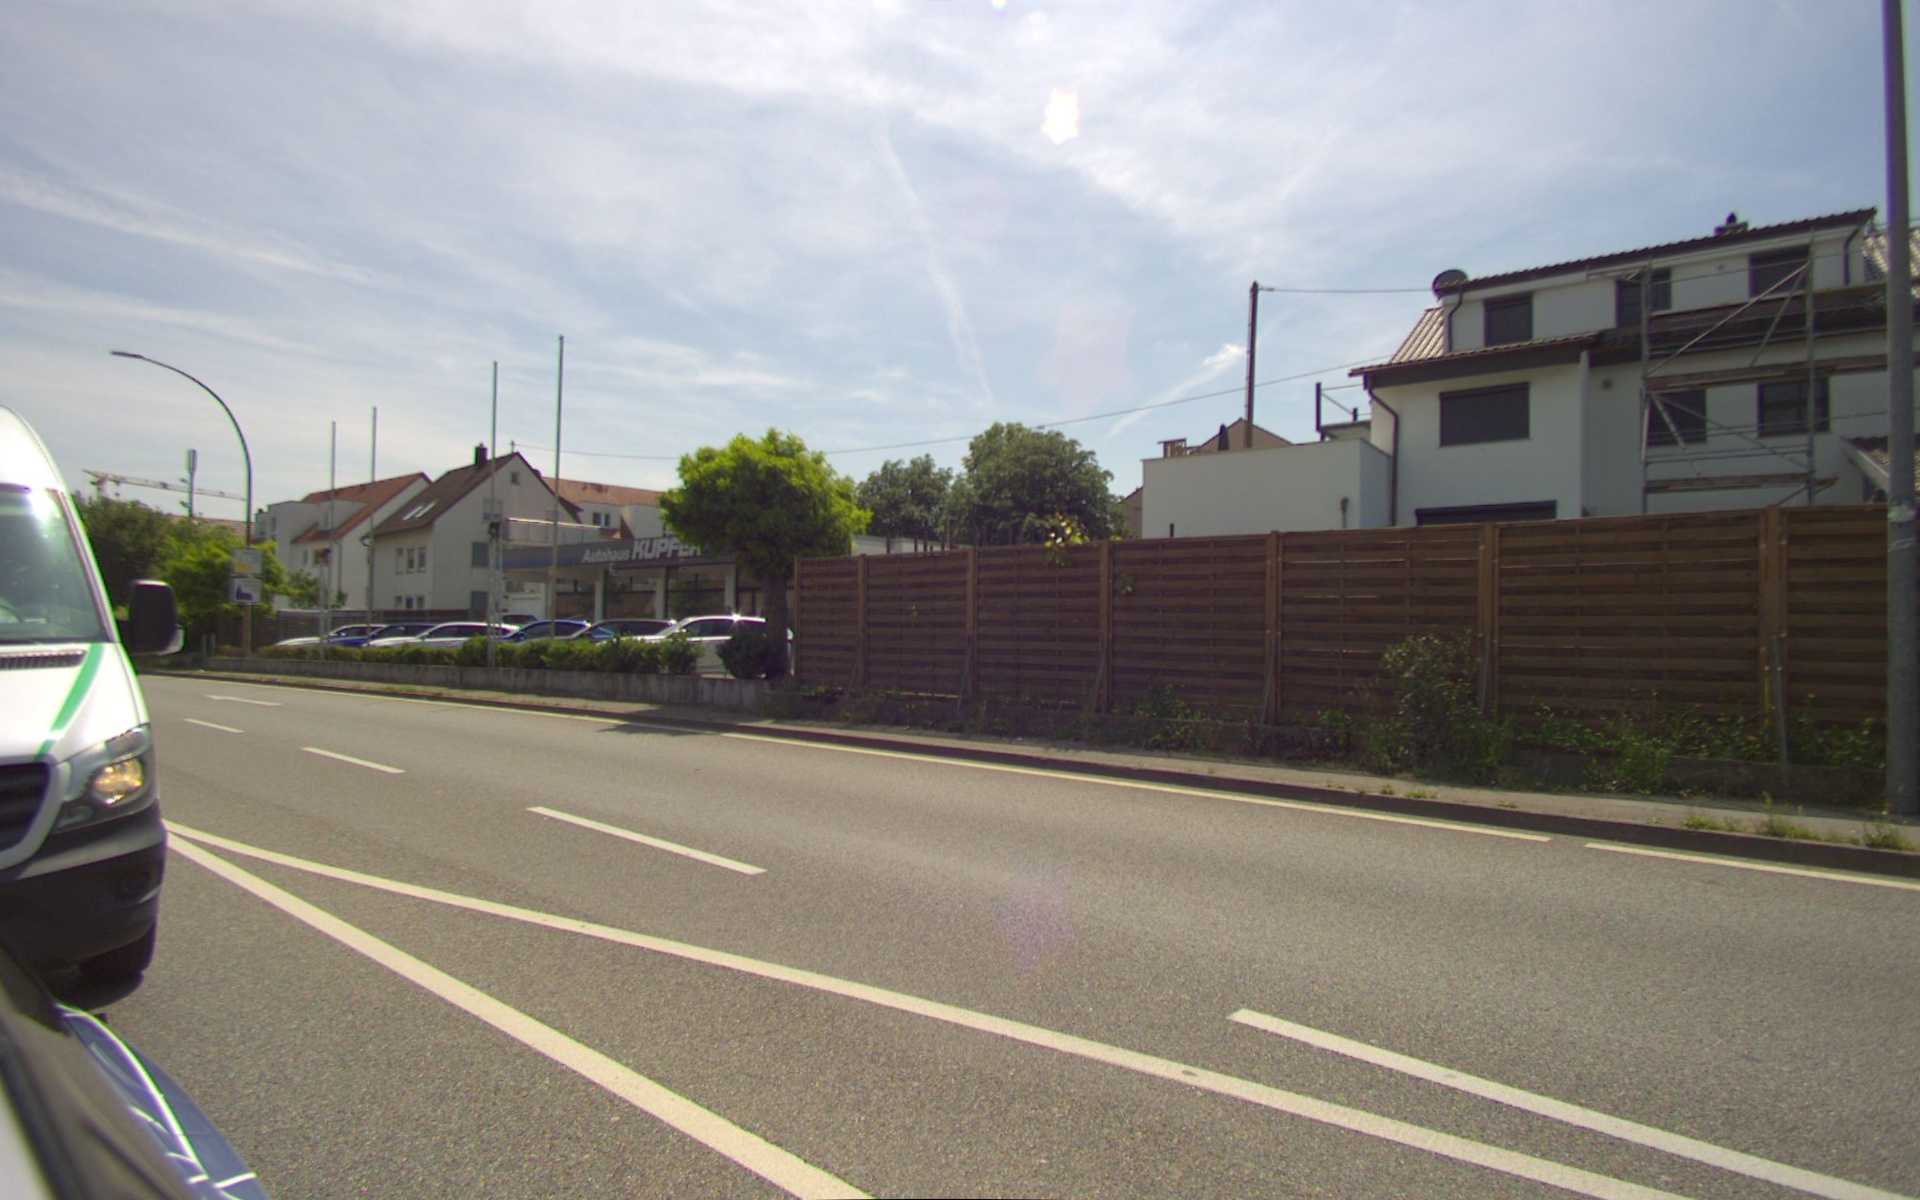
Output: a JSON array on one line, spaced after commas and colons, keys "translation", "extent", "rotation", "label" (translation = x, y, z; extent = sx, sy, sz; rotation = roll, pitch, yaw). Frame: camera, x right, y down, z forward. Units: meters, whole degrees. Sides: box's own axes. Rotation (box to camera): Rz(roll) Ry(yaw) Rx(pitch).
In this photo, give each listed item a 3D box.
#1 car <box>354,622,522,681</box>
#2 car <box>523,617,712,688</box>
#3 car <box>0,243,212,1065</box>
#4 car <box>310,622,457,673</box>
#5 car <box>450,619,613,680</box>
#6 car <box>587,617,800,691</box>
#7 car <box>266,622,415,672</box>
[{"translation": [-15.289, 1.474, 29.916], "extent": [4.238, 1.530, 2.006], "rotation": [-1, -1, -23], "label": "car"}, {"translation": [-8.468, 1.241, 25.034], "extent": [4.187, 1.557, 1.856], "rotation": [-1, -1, -27], "label": "car"}, {"translation": [-5.487, 0.235, 4.701], "extent": [5.628, 2.619, 1.953], "rotation": [-2, -1, 40], "label": "car"}, {"translation": [-18.538, 1.504, 32.768], "extent": [3.930, 1.475, 2.006], "rotation": [-1, -1, -24], "label": "car"}, {"translation": [-11.598, 1.296, 27.461], "extent": [3.931, 1.453, 1.860], "rotation": [-1, -1, -25], "label": "car"}, {"translation": [-5.881, 1.132, 22.350], "extent": [4.264, 1.471, 1.861], "rotation": [0, -1, -26], "label": "car"}, {"translation": [-21.504, 1.605, 35.353], "extent": [4.192, 1.541, 2.006], "rotation": [-1, -1, -24], "label": "car"}]
